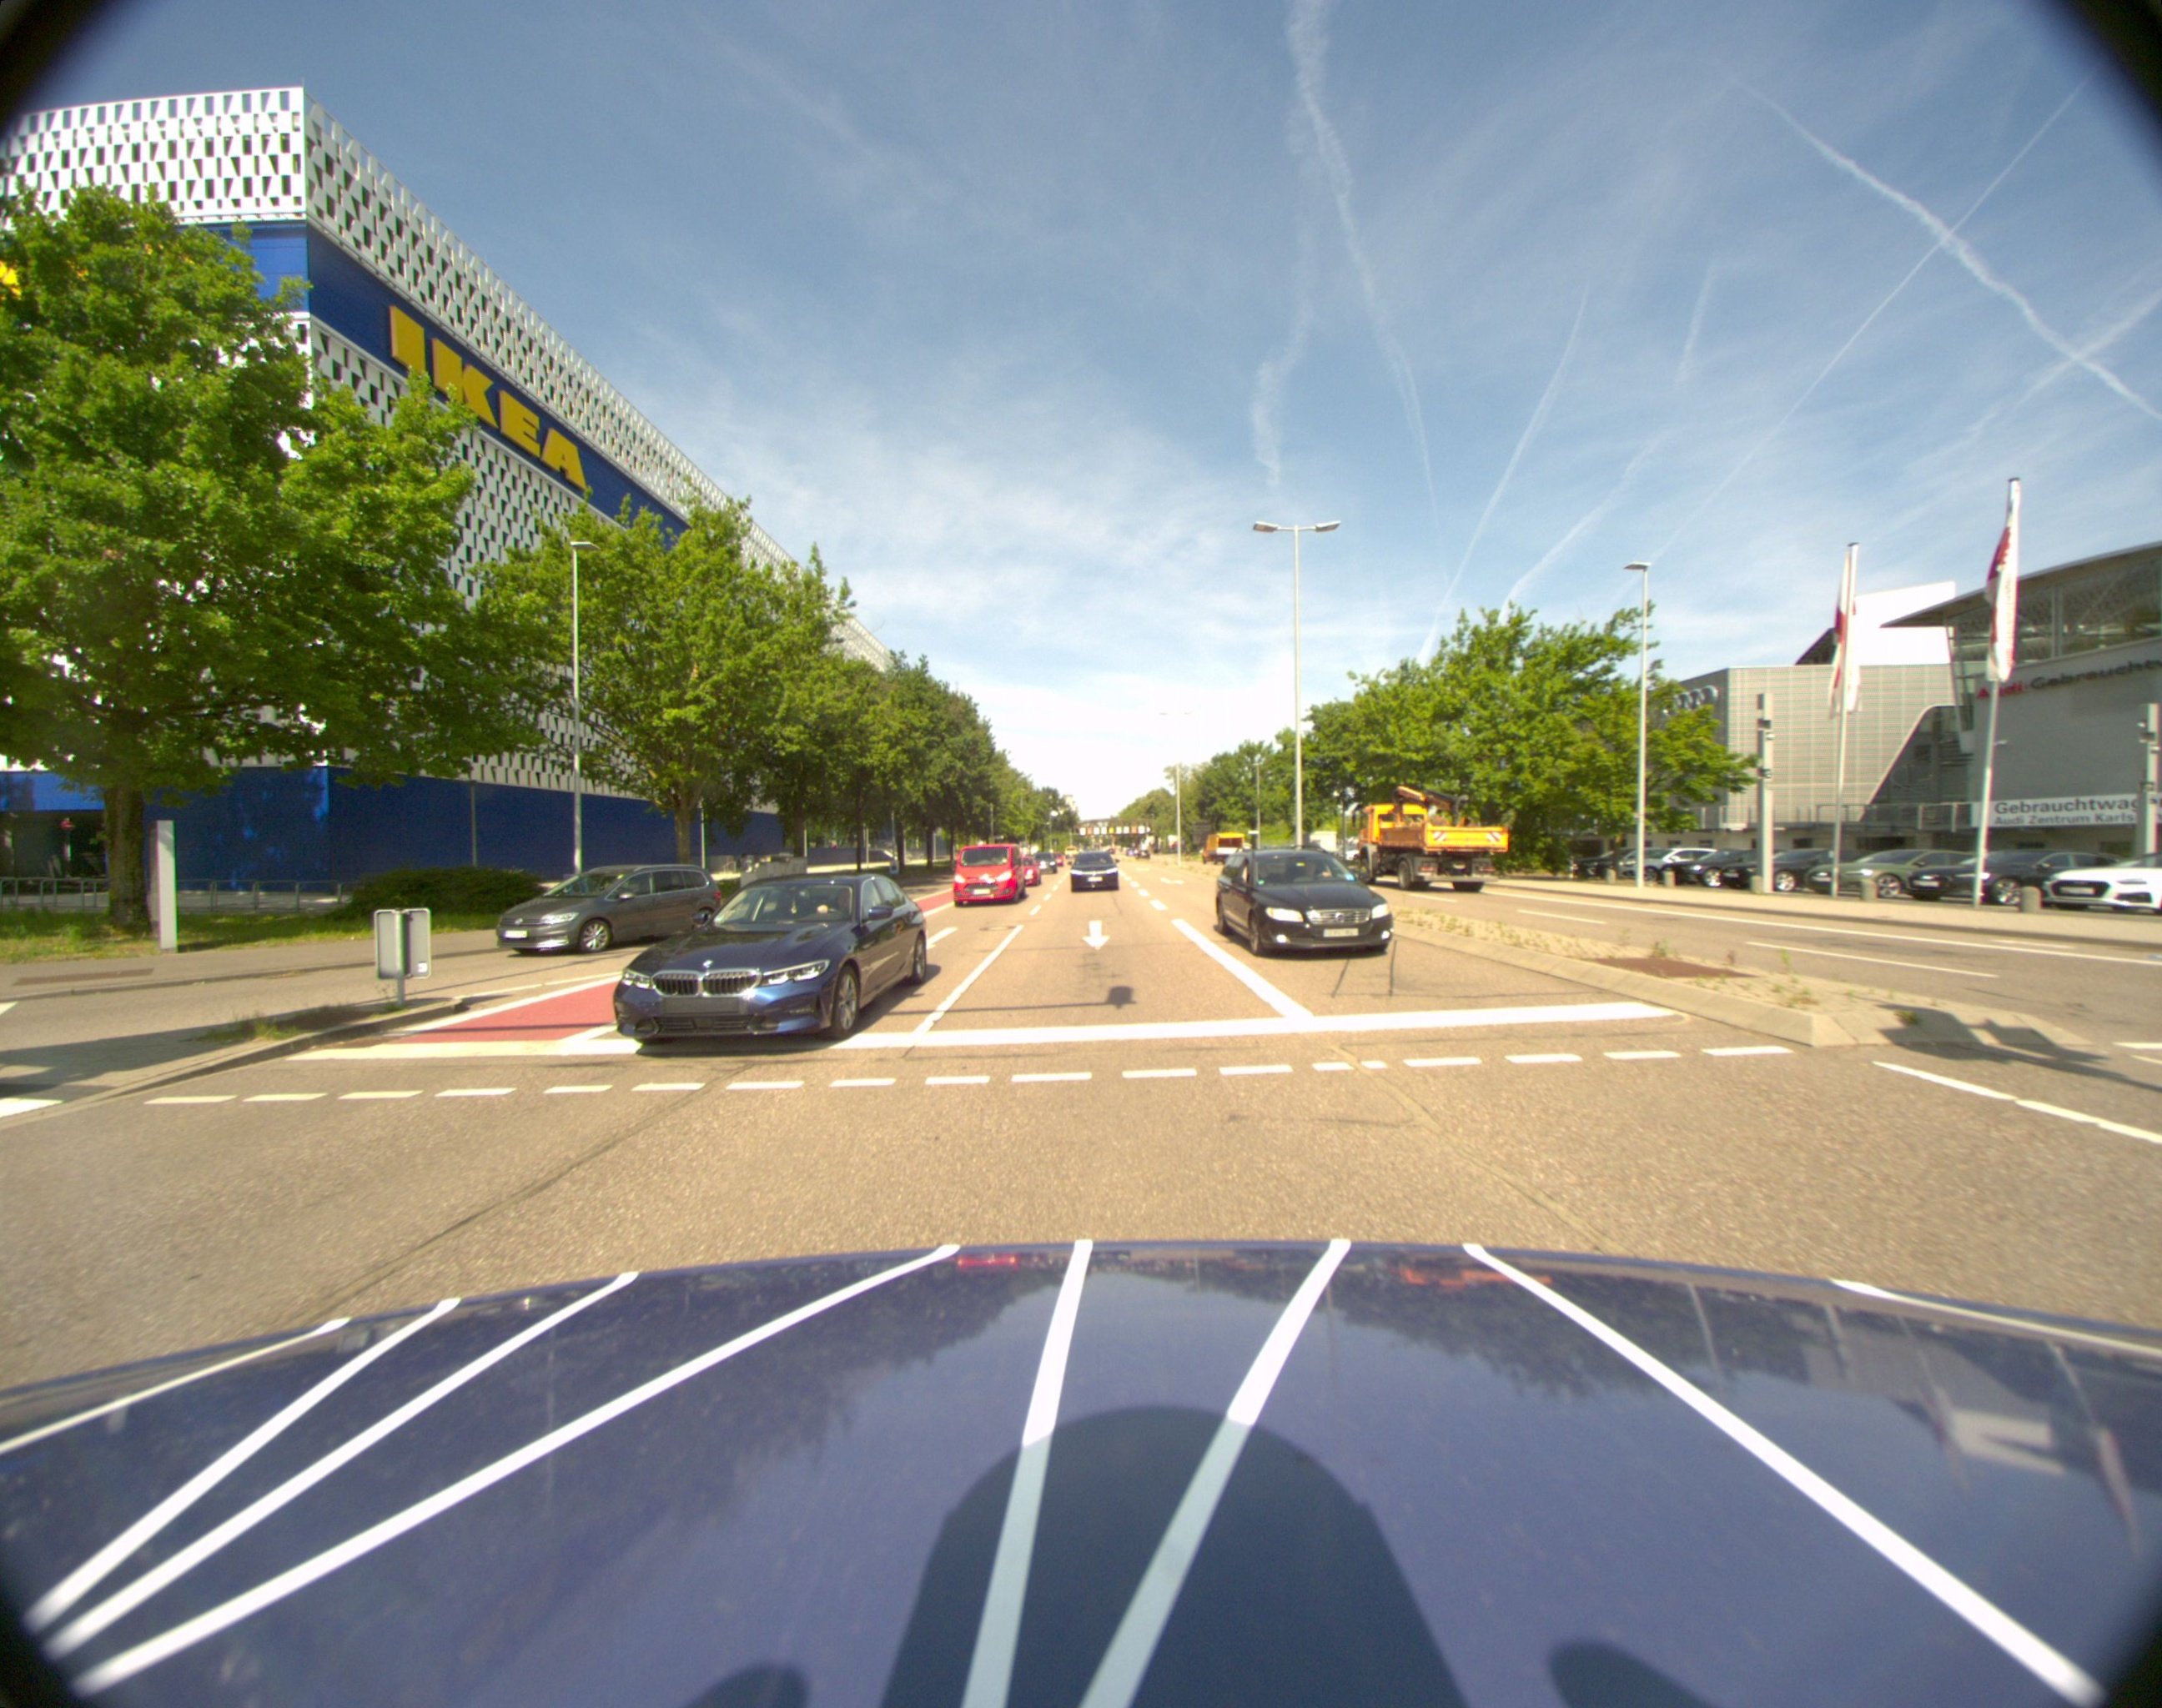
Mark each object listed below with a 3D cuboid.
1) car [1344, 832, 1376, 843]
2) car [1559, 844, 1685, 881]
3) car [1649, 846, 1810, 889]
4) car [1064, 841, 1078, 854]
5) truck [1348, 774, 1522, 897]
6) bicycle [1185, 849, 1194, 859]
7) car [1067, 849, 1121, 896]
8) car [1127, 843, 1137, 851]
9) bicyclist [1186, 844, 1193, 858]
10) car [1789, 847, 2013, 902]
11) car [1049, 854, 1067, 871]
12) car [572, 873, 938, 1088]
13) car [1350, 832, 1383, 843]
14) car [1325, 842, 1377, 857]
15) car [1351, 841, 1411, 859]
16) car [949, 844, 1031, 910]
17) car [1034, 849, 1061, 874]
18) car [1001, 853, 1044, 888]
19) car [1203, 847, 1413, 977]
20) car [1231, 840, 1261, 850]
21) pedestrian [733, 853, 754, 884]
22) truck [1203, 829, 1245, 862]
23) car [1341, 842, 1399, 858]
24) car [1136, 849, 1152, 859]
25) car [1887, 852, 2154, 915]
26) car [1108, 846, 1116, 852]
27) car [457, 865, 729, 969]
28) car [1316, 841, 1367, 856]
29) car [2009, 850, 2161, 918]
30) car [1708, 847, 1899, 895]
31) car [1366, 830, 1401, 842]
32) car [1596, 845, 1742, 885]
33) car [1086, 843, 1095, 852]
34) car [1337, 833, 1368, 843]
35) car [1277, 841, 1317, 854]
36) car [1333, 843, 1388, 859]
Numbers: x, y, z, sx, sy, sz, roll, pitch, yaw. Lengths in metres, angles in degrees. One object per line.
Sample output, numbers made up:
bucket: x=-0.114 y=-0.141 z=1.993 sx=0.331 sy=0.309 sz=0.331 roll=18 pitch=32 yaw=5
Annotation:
car: x=41.792 y=-2.418 z=113.842 sx=4.196 sy=1.491 sz=1.690 roll=2 pitch=1 yaw=2
car: x=22.930 y=0.353 z=32.299 sx=4.034 sy=1.394 sz=1.809 roll=2 pitch=1 yaw=0
car: x=22.844 y=0.443 z=26.877 sx=4.121 sy=1.347 sz=1.835 roll=2 pitch=1 yaw=-1
car: x=-1.609 y=-1.073 z=124.720 sx=1.998 sy=2.002 sz=3.999 roll=-3 pitch=2 yaw=1
truck: x=12.039 y=-0.612 z=26.786 sx=2.753 sy=3.659 sz=7.579 roll=1 pitch=1 yaw=3
bicycle: x=12.689 y=0.052 z=88.956 sx=0.573 sy=1.143 sz=1.768 roll=0 pitch=1 yaw=-9
car: x=0.521 y=0.656 z=29.515 sx=1.847 sy=1.531 sz=3.999 roll=-4 pitch=1 yaw=1
car: x=9.181 y=-1.254 z=136.742 sx=1.732 sy=1.430 sz=3.869 roll=1 pitch=1 yaw=1
bicyclist: x=12.681 y=-0.368 z=88.898 sx=0.578 sy=1.587 sz=0.909 roll=0 pitch=1 yaw=-9
car: x=22.739 y=0.538 z=21.198 sx=4.185 sy=1.327 sz=1.854 roll=2 pitch=1 yaw=1
car: x=-2.242 y=0.806 z=75.119 sx=1.649 sy=1.531 sz=3.999 roll=-4 pitch=1 yaw=0
car: x=-2.876 y=1.013 z=7.979 sx=1.800 sy=1.420 sz=4.538 roll=-2 pitch=0 yaw=0
car: x=41.780 y=-2.435 z=111.252 sx=4.196 sy=1.491 sz=1.690 roll=2 pitch=1 yaw=2
car: x=24.680 y=-0.431 z=69.548 sx=4.196 sy=1.239 sz=1.690 roll=2 pitch=1 yaw=2
car: x=24.415 y=-0.336 z=61.859 sx=4.196 sy=1.292 sz=1.690 roll=2 pitch=1 yaw=2
car: x=-2.893 y=0.665 z=25.200 sx=2.014 sy=1.896 sz=4.809 roll=-3 pitch=1 yaw=0
car: x=-2.338 y=0.499 z=53.875 sx=1.649 sy=1.531 sz=3.999 roll=-4 pitch=1 yaw=0
car: x=-2.714 y=0.735 z=35.989 sx=1.692 sy=1.414 sz=3.915 roll=-2 pitch=1 yaw=0
car: x=3.228 y=0.706 z=11.932 sx=1.882 sy=1.513 sz=4.868 roll=-3 pitch=1 yaw=1
car: x=25.104 y=-1.383 z=115.919 sx=4.196 sy=1.491 sz=1.690 roll=2 pitch=1 yaw=2
pedestrian: x=-17.290 y=0.748 z=38.962 sx=0.680 sy=1.537 sz=0.780 roll=-1 pitch=1 yaw=1
truck: x=12.262 y=-0.723 z=65.671 sx=2.381 sy=2.610 sz=6.672 roll=-1 pitch=1 yaw=1
car: x=24.512 y=-0.337 z=64.547 sx=4.196 sy=1.248 sz=1.690 roll=2 pitch=1 yaw=2
car: x=9.021 y=-0.010 z=109.327 sx=1.851 sy=1.451 sz=4.663 roll=1 pitch=1 yaw=0
car: x=22.514 y=0.677 z=18.347 sx=3.996 sy=1.311 sz=1.838 roll=2 pitch=1 yaw=2
car: x=7.540 y=-1.166 z=186.656 sx=1.866 sy=1.503 sz=4.001 roll=-1 pitch=1 yaw=3
car: x=-9.638 y=1.129 z=15.524 sx=1.996 sy=1.646 sz=4.395 roll=0 pitch=1 yaw=16
car: x=24.669 y=-0.508 z=72.016 sx=4.196 sy=1.315 sz=1.690 roll=2 pitch=1 yaw=2
car: x=22.604 y=0.631 z=15.882 sx=3.997 sy=1.311 sz=1.868 roll=2 pitch=1 yaw=1
car: x=22.857 y=0.511 z=24.173 sx=4.291 sy=1.347 sz=1.829 roll=2 pitch=1 yaw=0
car: x=41.383 y=-2.415 z=104.005 sx=4.196 sy=1.491 sz=1.690 roll=2 pitch=1 yaw=2
car: x=22.821 y=0.413 z=29.585 sx=4.226 sy=1.387 sz=1.802 roll=2 pitch=1 yaw=0
car: x=2.242 y=-1.477 z=178.950 sx=1.998 sy=2.002 sz=3.999 roll=-3 pitch=2 yaw=1
car: x=41.588 y=-2.446 z=116.389 sx=4.196 sy=1.491 sz=1.690 roll=2 pitch=1 yaw=2
car: x=25.319 y=-0.790 z=89.298 sx=4.196 sy=1.315 sz=1.690 roll=2 pitch=1 yaw=2
car: x=24.629 y=-0.282 z=66.952 sx=4.196 sy=1.317 sz=1.690 roll=2 pitch=1 yaw=2
